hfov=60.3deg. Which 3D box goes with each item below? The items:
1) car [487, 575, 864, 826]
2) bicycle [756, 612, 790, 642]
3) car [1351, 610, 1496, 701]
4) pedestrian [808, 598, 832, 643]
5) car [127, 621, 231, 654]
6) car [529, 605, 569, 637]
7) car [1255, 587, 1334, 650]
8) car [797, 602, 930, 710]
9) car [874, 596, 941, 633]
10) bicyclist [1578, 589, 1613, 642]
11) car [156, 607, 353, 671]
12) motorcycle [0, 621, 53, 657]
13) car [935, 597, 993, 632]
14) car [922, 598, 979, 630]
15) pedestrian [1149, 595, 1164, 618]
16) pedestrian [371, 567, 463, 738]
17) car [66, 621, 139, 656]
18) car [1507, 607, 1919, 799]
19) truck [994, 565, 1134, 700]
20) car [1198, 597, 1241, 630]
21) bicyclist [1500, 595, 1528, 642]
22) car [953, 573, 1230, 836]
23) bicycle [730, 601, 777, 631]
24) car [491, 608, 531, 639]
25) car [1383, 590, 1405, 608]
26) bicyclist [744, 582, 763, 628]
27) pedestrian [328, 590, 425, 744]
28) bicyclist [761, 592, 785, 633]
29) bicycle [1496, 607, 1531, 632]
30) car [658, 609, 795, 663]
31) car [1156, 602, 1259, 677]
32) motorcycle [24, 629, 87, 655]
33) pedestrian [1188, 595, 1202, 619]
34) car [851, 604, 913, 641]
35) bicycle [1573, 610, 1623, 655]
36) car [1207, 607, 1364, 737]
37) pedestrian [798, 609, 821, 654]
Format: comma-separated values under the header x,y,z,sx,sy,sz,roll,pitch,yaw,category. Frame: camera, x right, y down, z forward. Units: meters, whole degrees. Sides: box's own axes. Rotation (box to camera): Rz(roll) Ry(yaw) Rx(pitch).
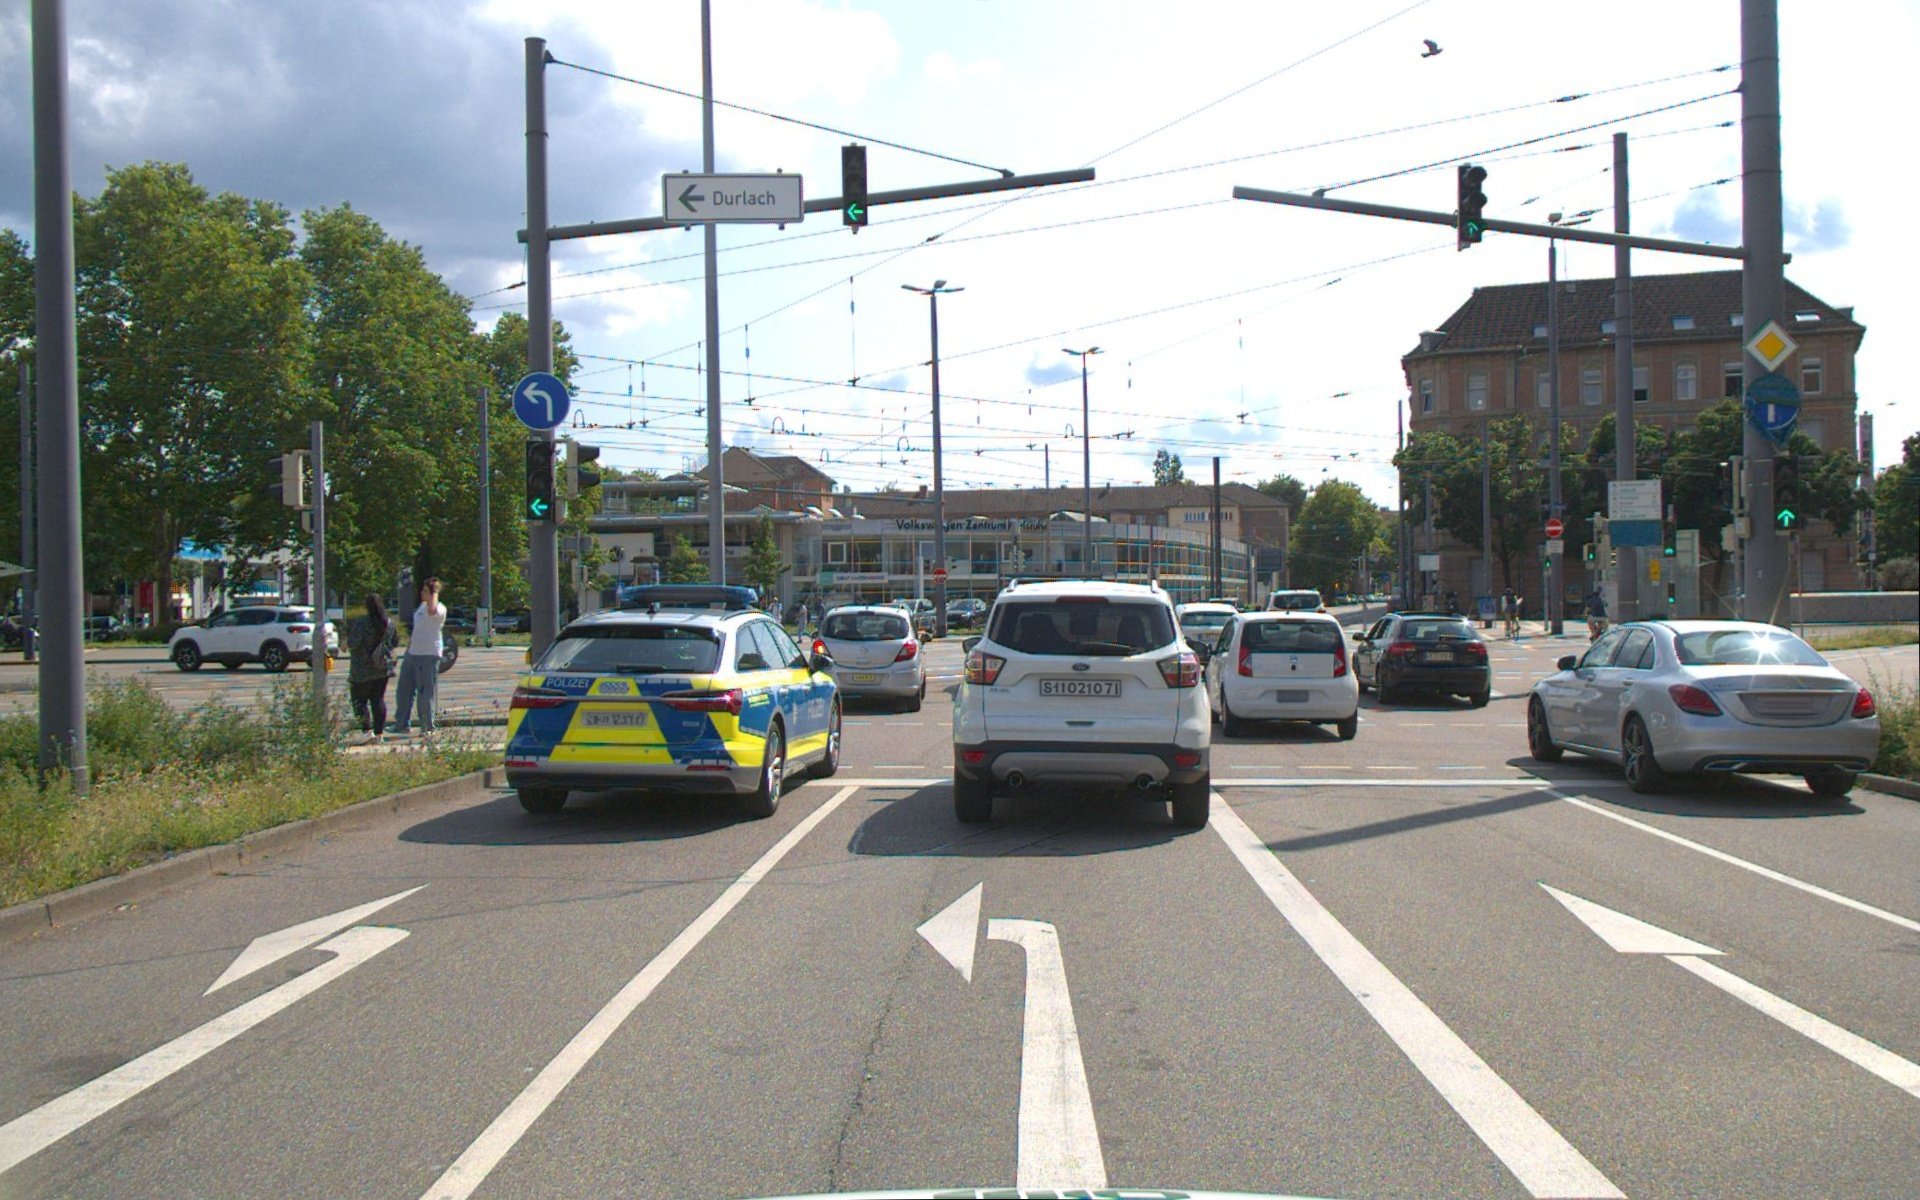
x,y,z,sx,sy,sz,roll,pitch,yaw,category
-1.980,0.688,12.981,1.840,1.596,4.617,-1,-1,4,car
-7.900,1.119,69.940,0.743,1.213,2.152,-2,0,12,bicycle
7.625,0.873,27.543,1.663,1.396,4.135,0,0,6,car
-5.547,0.809,65.470,0.906,1.774,0.588,1,-1,-5,pedestrian
-35.363,1.695,74.970,3.908,1.350,1.632,-2,-1,-4,car
-27.884,1.473,112.319,1.955,2.049,4.225,-2,-1,-6,car
9.264,0.530,46.037,1.797,1.681,4.003,0,-1,6,car
-1.402,0.803,25.405,1.810,1.500,3.999,1,0,-1,car
-2.417,0.672,77.535,1.701,1.600,4.001,-2,0,20,car
15.445,0.380,40.202,0.621,1.241,0.925,-3,0,13,bicyclist
-18.270,0.986,42.854,4.429,1.606,2.047,0,0,17,car
-34.388,1.414,60.418,2.164,1.259,0.906,-1,1,16,motorcycle
0.211,0.662,77.007,1.653,1.487,3.971,-2,0,16,car
-0.472,0.717,84.398,1.592,1.487,3.970,-2,0,20,car
15.541,0.537,130.723,0.860,1.768,0.873,0,-1,34,pedestrian
-6.358,0.604,19.385,0.830,1.950,0.692,-1,-1,-3,pedestrian
-37.158,1.674,71.760,1.873,1.438,3.985,-1,-1,-14,car
6.720,0.820,15.361,1.890,1.481,4.760,0,0,2,car
1.829,0.547,30.116,2.290,2.193,5.853,1,0,2,truck
11.355,0.590,72.387,1.810,1.444,3.682,0,0,9,car
17.802,0.600,53.169,0.595,1.476,0.774,-1,-1,0,bicyclist
0.904,0.688,12.675,1.789,1.693,3.956,0,0,1,car
-8.028,0.633,64.331,1.741,1.145,0.640,0,0,2,bicycle
-30.495,1.612,112.475,1.930,1.971,4.225,-2,-1,-6,car
42.020,-0.048,160.092,1.798,1.681,4.002,0,-1,18,car
-8.036,0.188,64.317,0.646,1.768,0.640,0,0,3,bicyclist
-6.568,0.744,18.651,0.830,1.677,0.692,-1,-1,-3,pedestrian
-7.923,0.523,69.953,0.743,1.712,0.761,-2,0,12,bicyclist
17.784,0.619,53.154,0.573,0.789,1.621,-1,0,0,bicycle
-6.394,0.959,45.048,1.729,1.401,3.934,0,-1,-45,car
4.976,0.771,33.661,1.811,1.444,3.681,0,0,5,car
-35.656,1.646,65.213,0.794,0.933,2.038,-1,1,35,motorcycle
19.529,0.582,137.501,0.859,1.956,0.874,0,-1,31,pedestrian
-3.253,0.930,69.449,1.700,1.397,3.644,-2,0,12,car
15.505,0.788,40.239,0.829,0.987,1.962,-4,0,14,bicycle
4.076,0.852,21.224,1.614,1.447,4.003,-1,0,6,car
-6.032,1.271,66.343,0.905,1.774,0.588,1,-1,-5,pedestrian
